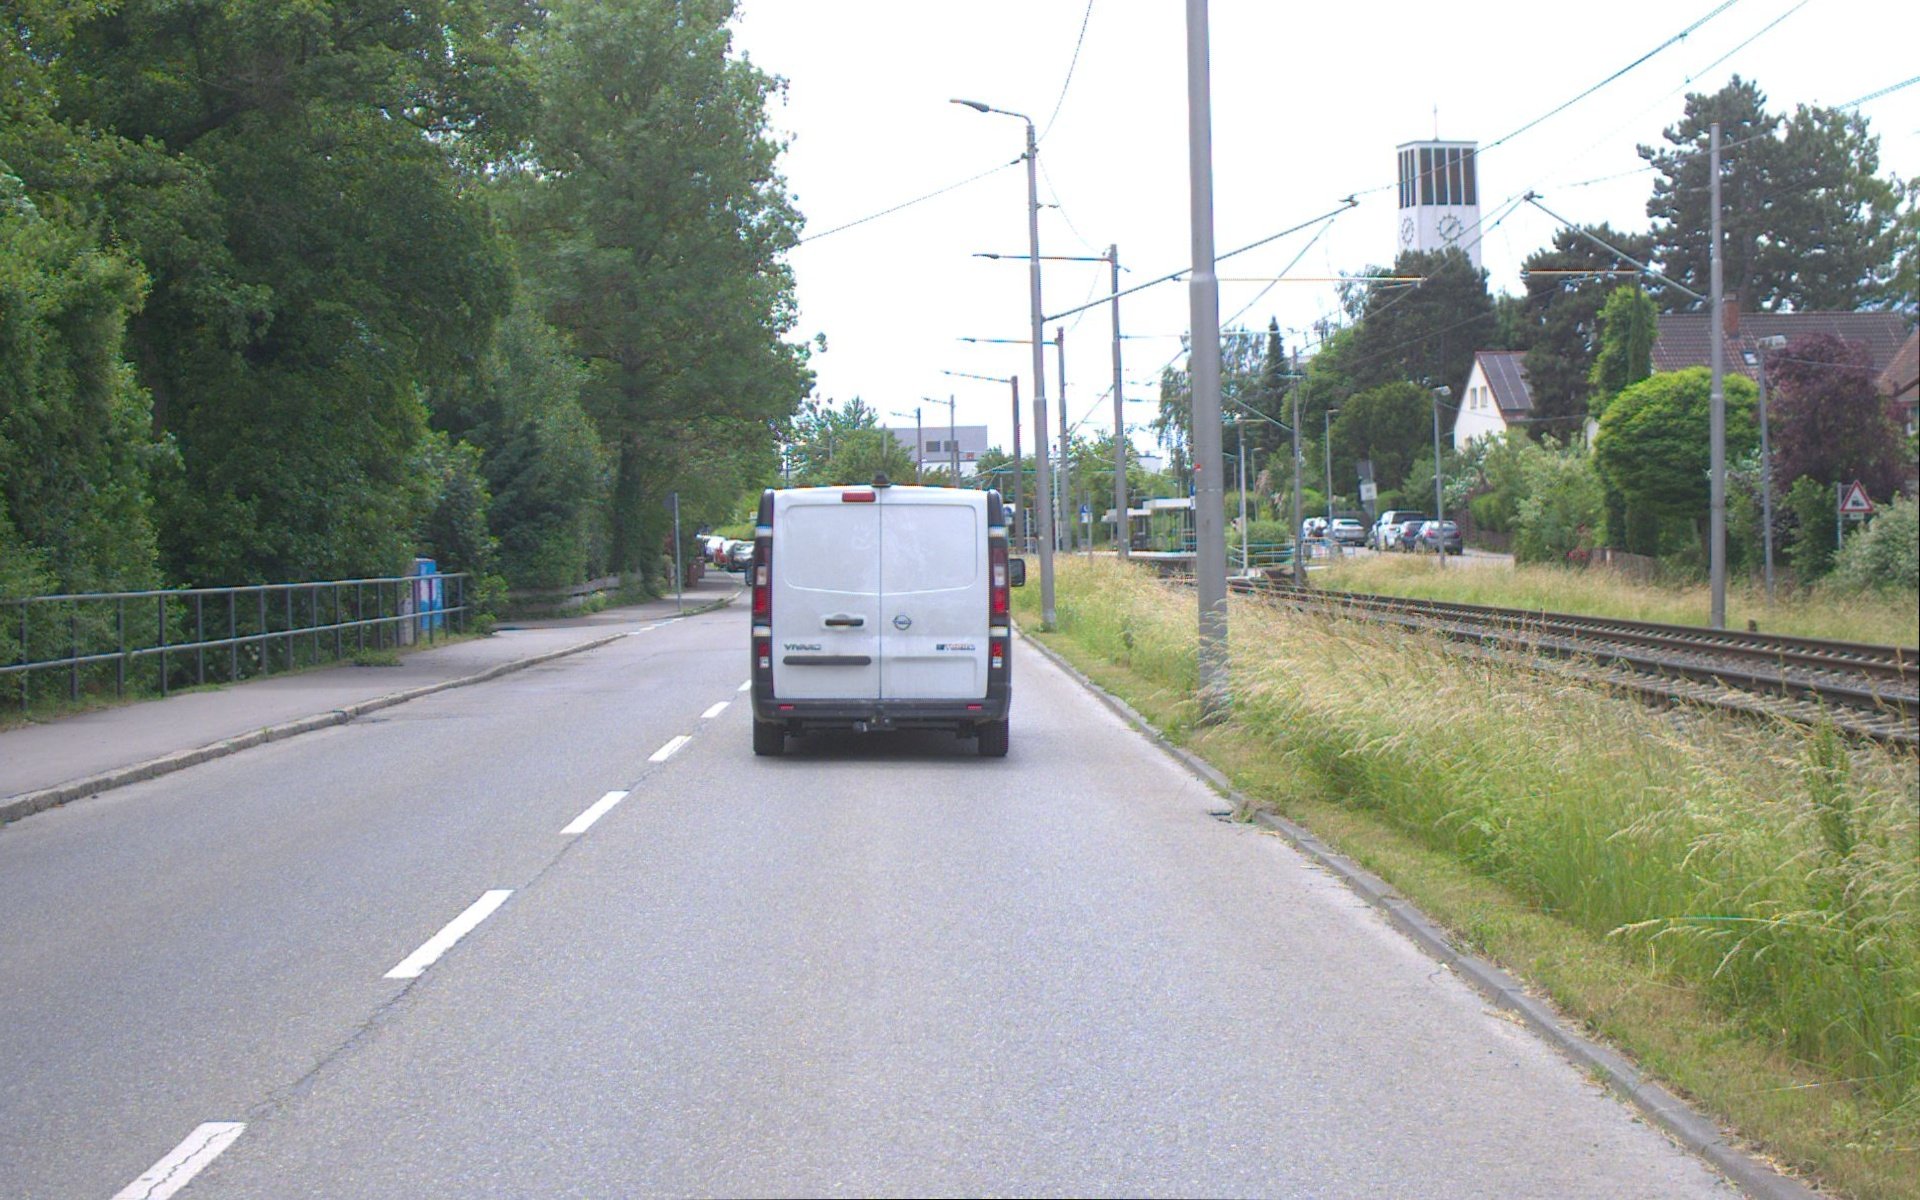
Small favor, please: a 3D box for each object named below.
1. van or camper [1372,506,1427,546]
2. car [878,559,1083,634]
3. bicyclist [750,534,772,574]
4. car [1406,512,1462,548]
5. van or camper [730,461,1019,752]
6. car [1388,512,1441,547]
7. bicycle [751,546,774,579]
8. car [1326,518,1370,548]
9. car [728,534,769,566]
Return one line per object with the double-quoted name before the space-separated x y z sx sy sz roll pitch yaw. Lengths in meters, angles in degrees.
"van or camper" 20.606 -3.456 161.280 1.905 1.819 5.048 -1 1 0
"car" 0.435 -0.078 70.015 3.988 1.474 1.956 0 1 6
"bicyclist" -7.721 -1.792 133.702 0.778 1.544 0.870 -2 1 -1
"car" 20.729 -3.067 150.452 1.883 1.517 4.000 -1 1 0
"van or camper" -0.609 0.018 26.010 1.993 2.007 4.446 0 1 0
"car" 20.685 -3.203 156.562 1.883 1.517 4.000 -1 1 0
"bicycle" -7.678 -1.448 133.559 0.755 1.222 2.308 -3 1 -1
"car" 20.642 -3.562 182.989 1.883 1.517 4.000 -1 1 0
"car" -10.623 -2.507 172.594 1.736 1.499 4.479 -3 2 -7
